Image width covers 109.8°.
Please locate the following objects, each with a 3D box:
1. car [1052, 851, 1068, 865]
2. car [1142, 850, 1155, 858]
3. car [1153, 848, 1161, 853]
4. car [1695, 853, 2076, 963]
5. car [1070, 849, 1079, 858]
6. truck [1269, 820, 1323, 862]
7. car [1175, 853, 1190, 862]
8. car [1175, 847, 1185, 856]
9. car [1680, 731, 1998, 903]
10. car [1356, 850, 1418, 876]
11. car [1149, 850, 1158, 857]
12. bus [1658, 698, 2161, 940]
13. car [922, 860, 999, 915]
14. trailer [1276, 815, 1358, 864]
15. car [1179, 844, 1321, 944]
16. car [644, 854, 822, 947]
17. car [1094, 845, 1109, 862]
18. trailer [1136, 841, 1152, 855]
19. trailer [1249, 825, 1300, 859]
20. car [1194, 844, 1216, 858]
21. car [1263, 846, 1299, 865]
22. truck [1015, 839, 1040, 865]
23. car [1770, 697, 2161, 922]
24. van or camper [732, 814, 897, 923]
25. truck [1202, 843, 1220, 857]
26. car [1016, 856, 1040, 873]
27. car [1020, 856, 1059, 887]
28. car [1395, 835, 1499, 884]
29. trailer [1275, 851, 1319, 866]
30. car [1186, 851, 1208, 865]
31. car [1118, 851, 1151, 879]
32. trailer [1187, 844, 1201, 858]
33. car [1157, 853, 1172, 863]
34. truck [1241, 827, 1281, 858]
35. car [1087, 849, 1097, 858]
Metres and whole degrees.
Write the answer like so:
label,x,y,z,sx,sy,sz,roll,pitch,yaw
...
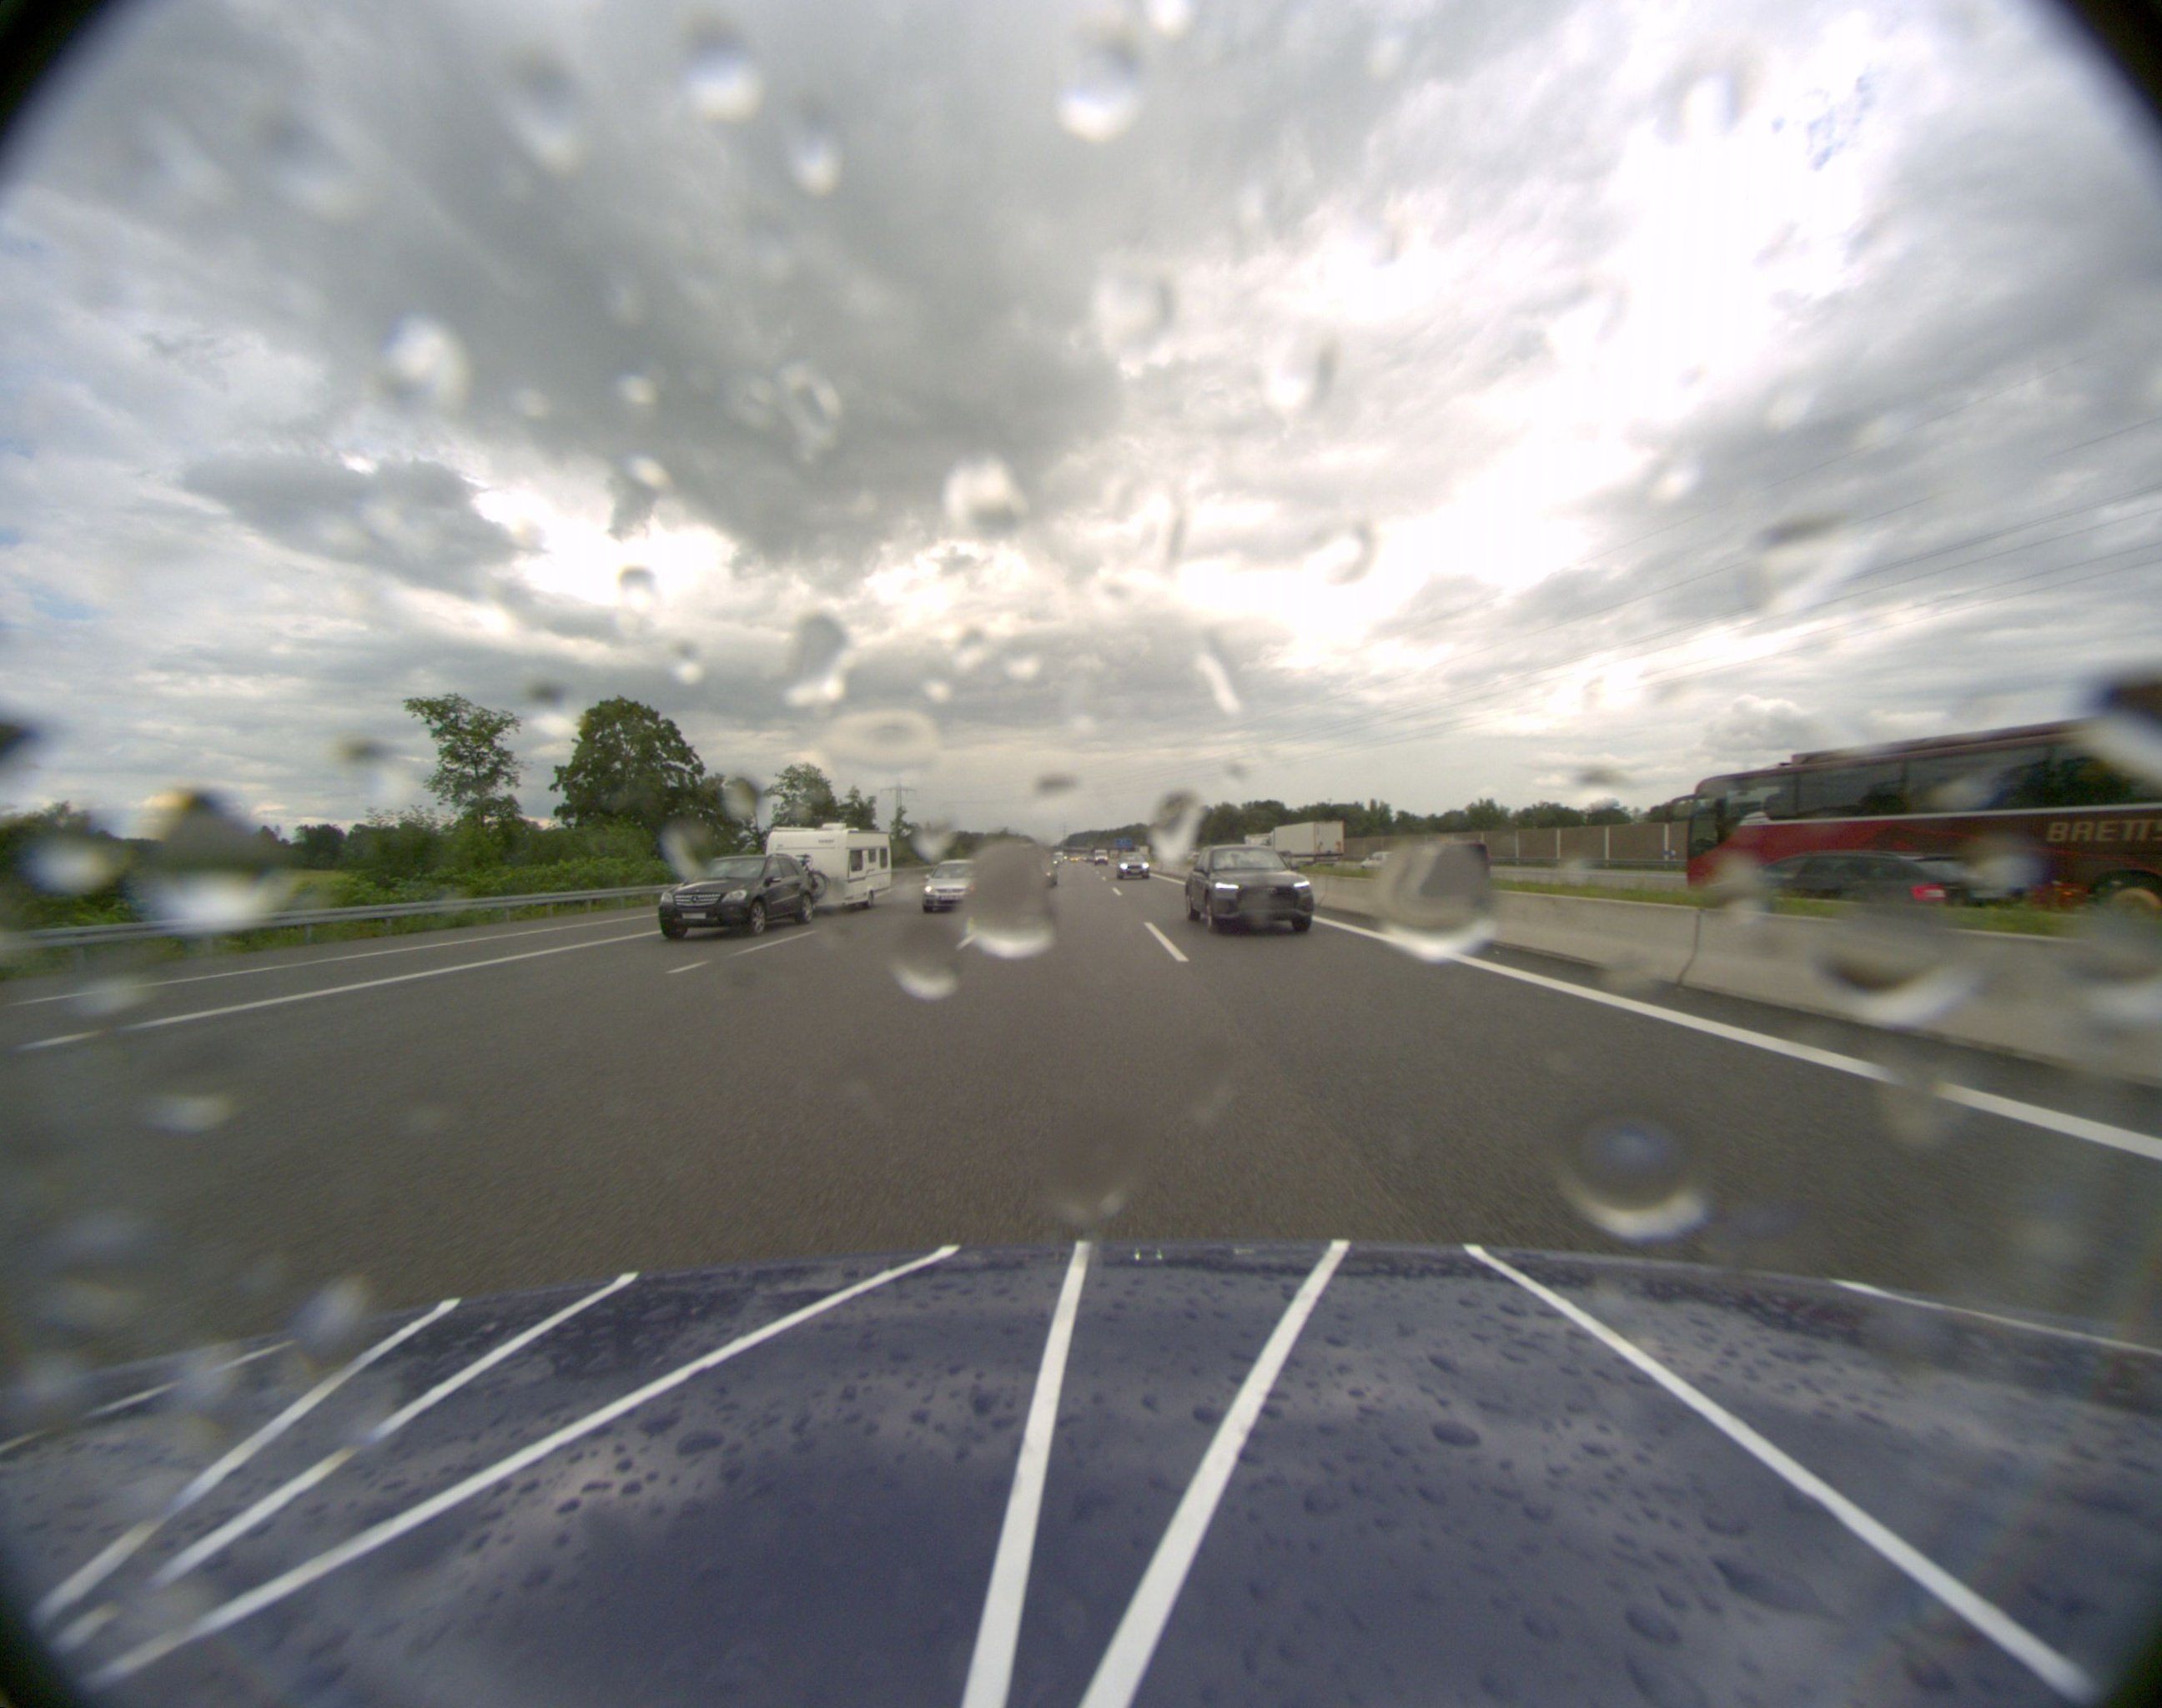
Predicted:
label,x,y,z,sx,sy,sz,roll,pitch,yaw
car,-2.664,0.447,97.312,1.999,1.701,3.999,-2,0,-1
car,13.512,-0.007,152.639,1.999,1.517,4.740,-2,0,-2
car,20.794,-0.927,208.029,1.770,1.446,4.942,-2,0,-1
car,13.509,0.779,13.289,1.792,1.524,4.564,-2,0,0
car,-1.578,-0.053,179.904,1.999,2.002,3.999,-2,0,0
truck,22.001,-1.287,78.191,3.669,4.024,6.524,-2,0,1
car,17.675,0.639,132.759,1.792,1.446,4.564,-2,0,-1
car,23.961,-0.624,184.137,1.770,1.956,4.942,-2,0,-1
car,21.081,-0.918,21.755,2.990,4.126,6.041,-2,0,0
car,18.204,0.493,45.469,1.792,1.446,4.564,-2,0,0
car,17.277,-0.112,181.098,1.770,1.446,4.233,-2,0,-1
bus,17.492,-0.582,14.659,2.897,3.590,12.757,-2,0,0
car,-3.562,0.934,23.125,1.683,1.437,4.000,-2,0,0
trailer,21.953,-1.254,71.820,3.669,4.084,13.398,-2,0,1
car,3.264,0.684,15.789,1.913,1.681,5.168,-2,0,2
car,-7.676,0.924,17.320,1.925,1.766,4.502,-2,0,0
car,3.138,-0.059,115.492,1.999,2.524,4.808,-2,0,0
trailer,19.681,-1.804,239.068,3.328,4.038,13.285,-2,0,-2
trailer,26.346,-1.538,104.142,3.670,4.212,12.465,-2,0,0
car,17.840,-0.469,109.655,2.286,1.956,6.086,-2,0,2
car,17.500,0.100,66.582,1.792,1.553,4.564,-2,0,-1
truck,-7.740,-0.336,111.871,2.870,3.633,9.593,-2,0,0
car,21.147,-0.865,14.405,2.990,4.100,14.393,-2,0,0
van or camper,-7.755,0.366,23.197,2.390,2.723,7.208,-2,0,0
truck,24.987,-0.774,146.162,2.108,2.437,6.263,-2,0,-1
car,-4.718,0.896,68.192,1.841,1.437,4.000,-2,0,0
car,-2.021,0.852,38.365,1.717,1.437,4.000,-2,0,0
car,13.742,0.170,28.808,1.792,1.656,4.295,-2,0,0
trailer,17.546,0.369,61.907,2.098,1.064,4.759,-2,0,-1
car,13.558,0.453,89.289,1.792,1.446,4.564,-2,0,-1
car,3.304,0.649,47.825,1.840,1.615,4.915,-2,0,2
trailer,24.388,-0.724,164.265,2.253,2.945,4.900,-2,0,-1
car,13.513,0.660,123.631,1.792,1.446,4.564,-2,0,-1
truck,26.287,-1.631,111.253,3.670,4.294,8.236,-2,0,0
car,2.417,-0.104,164.422,1.999,2.002,3.999,-2,0,0
